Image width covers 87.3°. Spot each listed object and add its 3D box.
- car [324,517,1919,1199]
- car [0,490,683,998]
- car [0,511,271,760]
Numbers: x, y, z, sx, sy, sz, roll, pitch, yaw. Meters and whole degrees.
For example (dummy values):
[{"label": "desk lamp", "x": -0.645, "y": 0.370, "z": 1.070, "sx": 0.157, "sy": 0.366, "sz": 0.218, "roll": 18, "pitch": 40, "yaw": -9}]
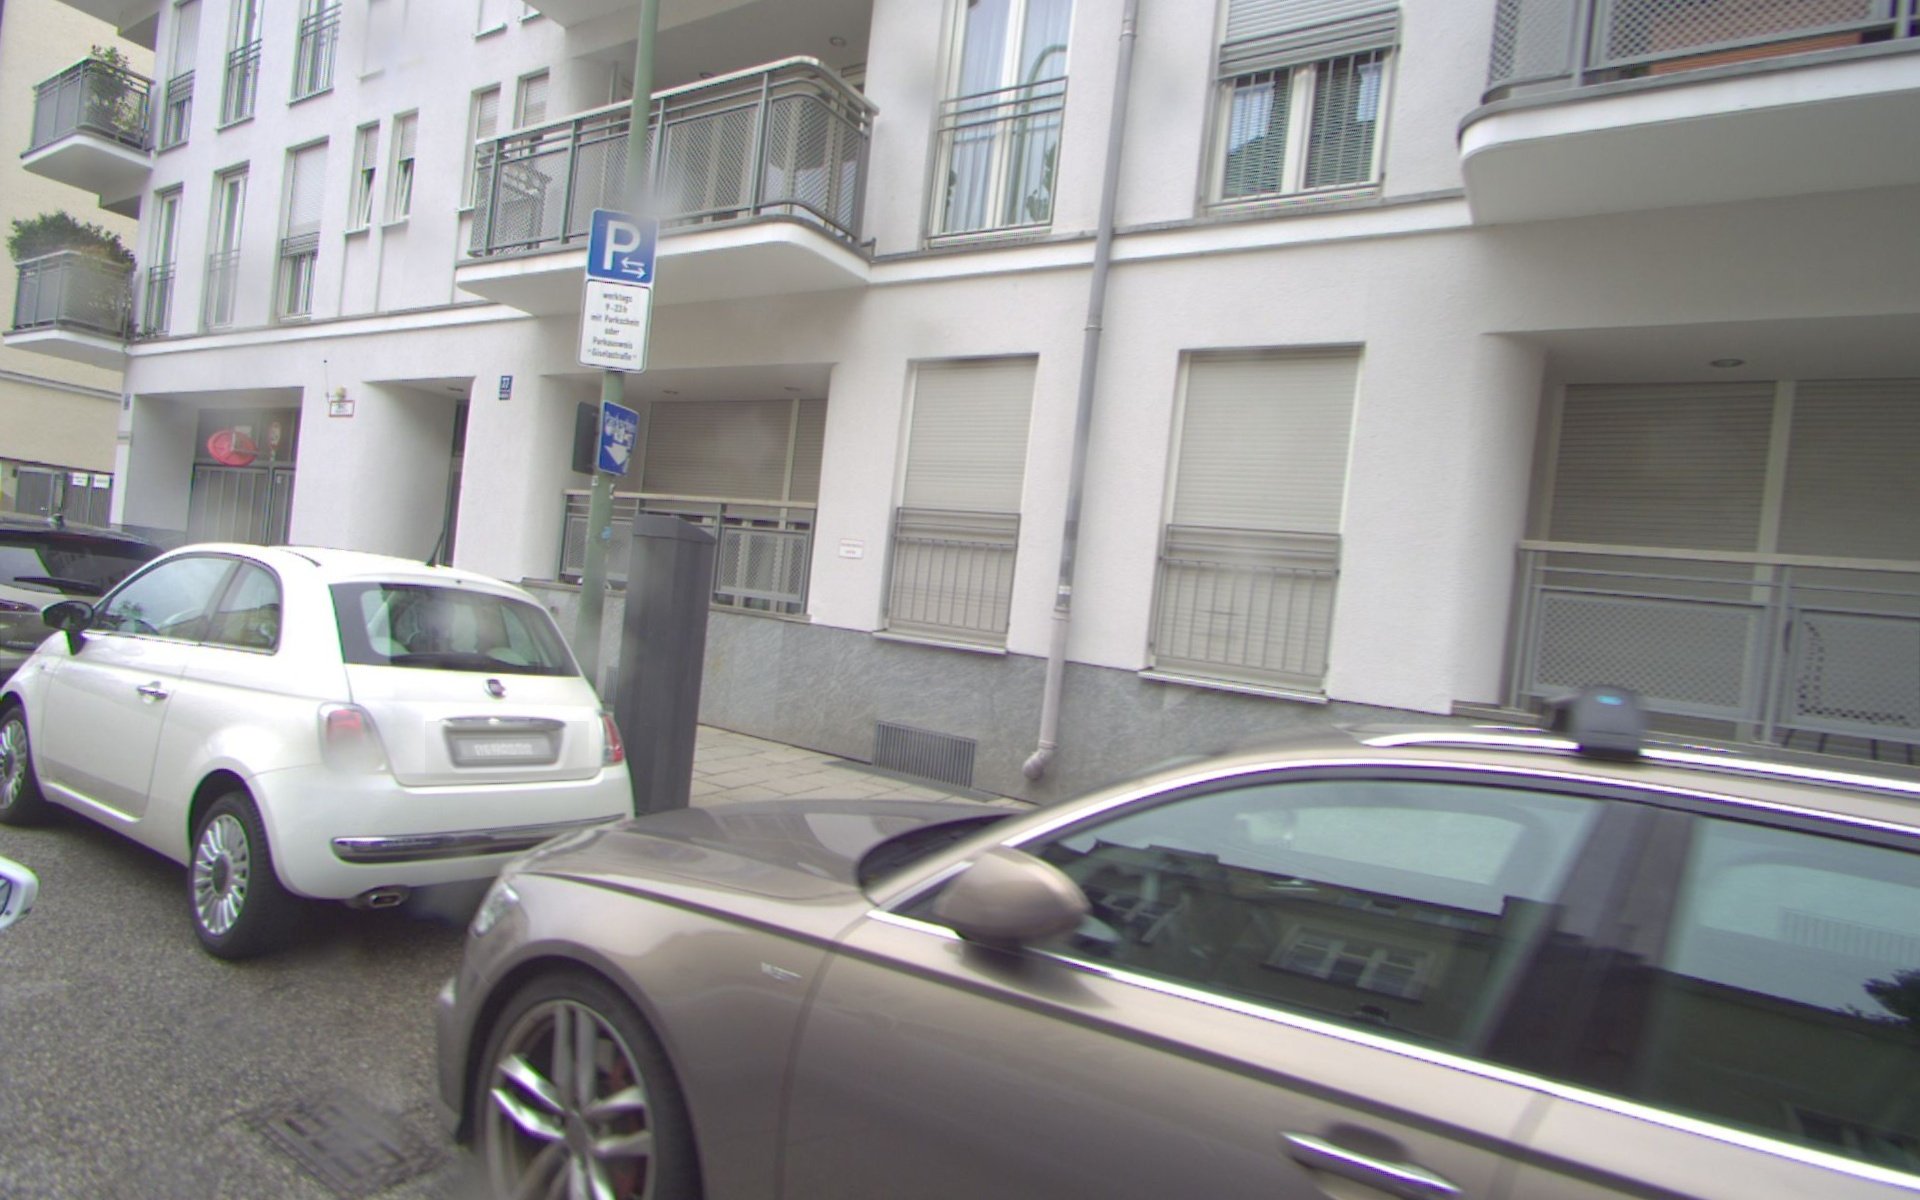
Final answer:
[{"label": "car", "x": 0.915, "y": 0.879, "z": 2.067, "sx": 4.544, "sy": 1.547, "sz": 1.738, "roll": 7, "pitch": -2, "yaw": 31}, {"label": "car", "x": -3.218, "y": 0.441, "z": 4.852, "sx": 3.467, "sy": 1.548, "sz": 1.522, "roll": 6, "pitch": -1, "yaw": 31}, {"label": "car", "x": -6.994, "y": 0.065, "z": 7.158, "sx": 4.009, "sy": 1.425, "sz": 1.766, "roll": 6, "pitch": -1, "yaw": 29}]
